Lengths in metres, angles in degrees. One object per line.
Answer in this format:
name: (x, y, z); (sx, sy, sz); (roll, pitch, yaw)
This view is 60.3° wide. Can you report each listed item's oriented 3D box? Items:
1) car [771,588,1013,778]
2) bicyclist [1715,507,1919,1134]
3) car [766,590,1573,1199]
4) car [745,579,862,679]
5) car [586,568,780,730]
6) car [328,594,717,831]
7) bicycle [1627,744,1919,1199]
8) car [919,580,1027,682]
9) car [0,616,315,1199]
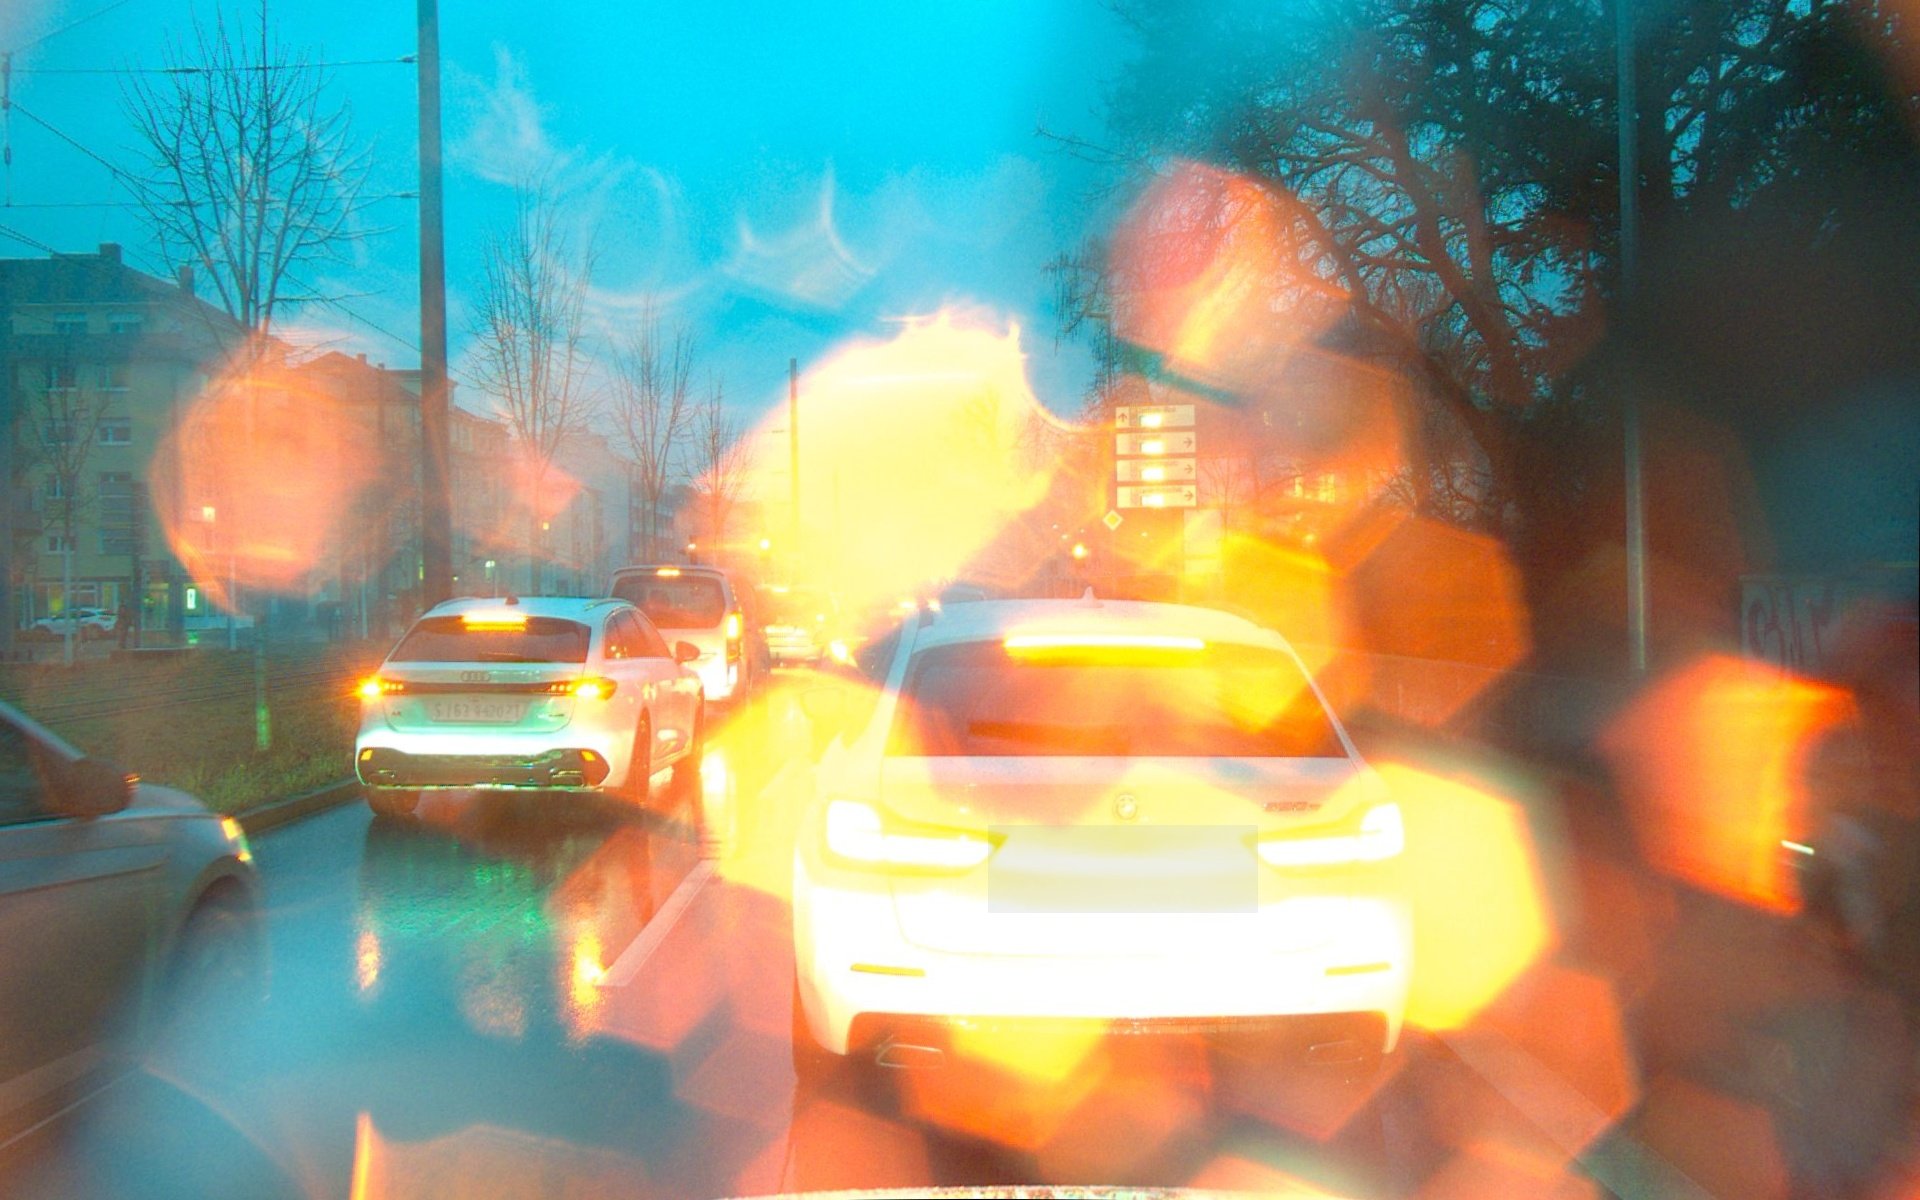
car: (-0.564, 0.640, 15.061); (1.896, 1.483, 4.162); (0, 0, -1)
bicyclist: (2.425, 0.488, 4.168); (0.632, 1.413, 0.890); (-1, 0, 1)
car: (0.483, 0.733, 6.086); (1.958, 1.534, 4.162); (0, 0, -1)
car: (-2.748, 0.471, 29.743); (1.770, 1.674, 3.999); (0, 0, -1)
car: (-3.284, 0.540, 20.417); (1.757, 1.766, 4.535); (0, 0, -2)
car: (-2.999, 0.688, 12.373); (1.809, 1.430, 4.612); (0, 0, -2)
bicycle: (2.434, 0.965, 4.269); (0.632, 0.983, 2.047); (-1, 0, 1)
car: (0.188, 0.492, 29.289); (1.770, 1.674, 3.999); (0, 0, -1)
car: (-2.877, 0.749, 3.291); (1.727, 1.395, 3.980); (0, 0, -2)
